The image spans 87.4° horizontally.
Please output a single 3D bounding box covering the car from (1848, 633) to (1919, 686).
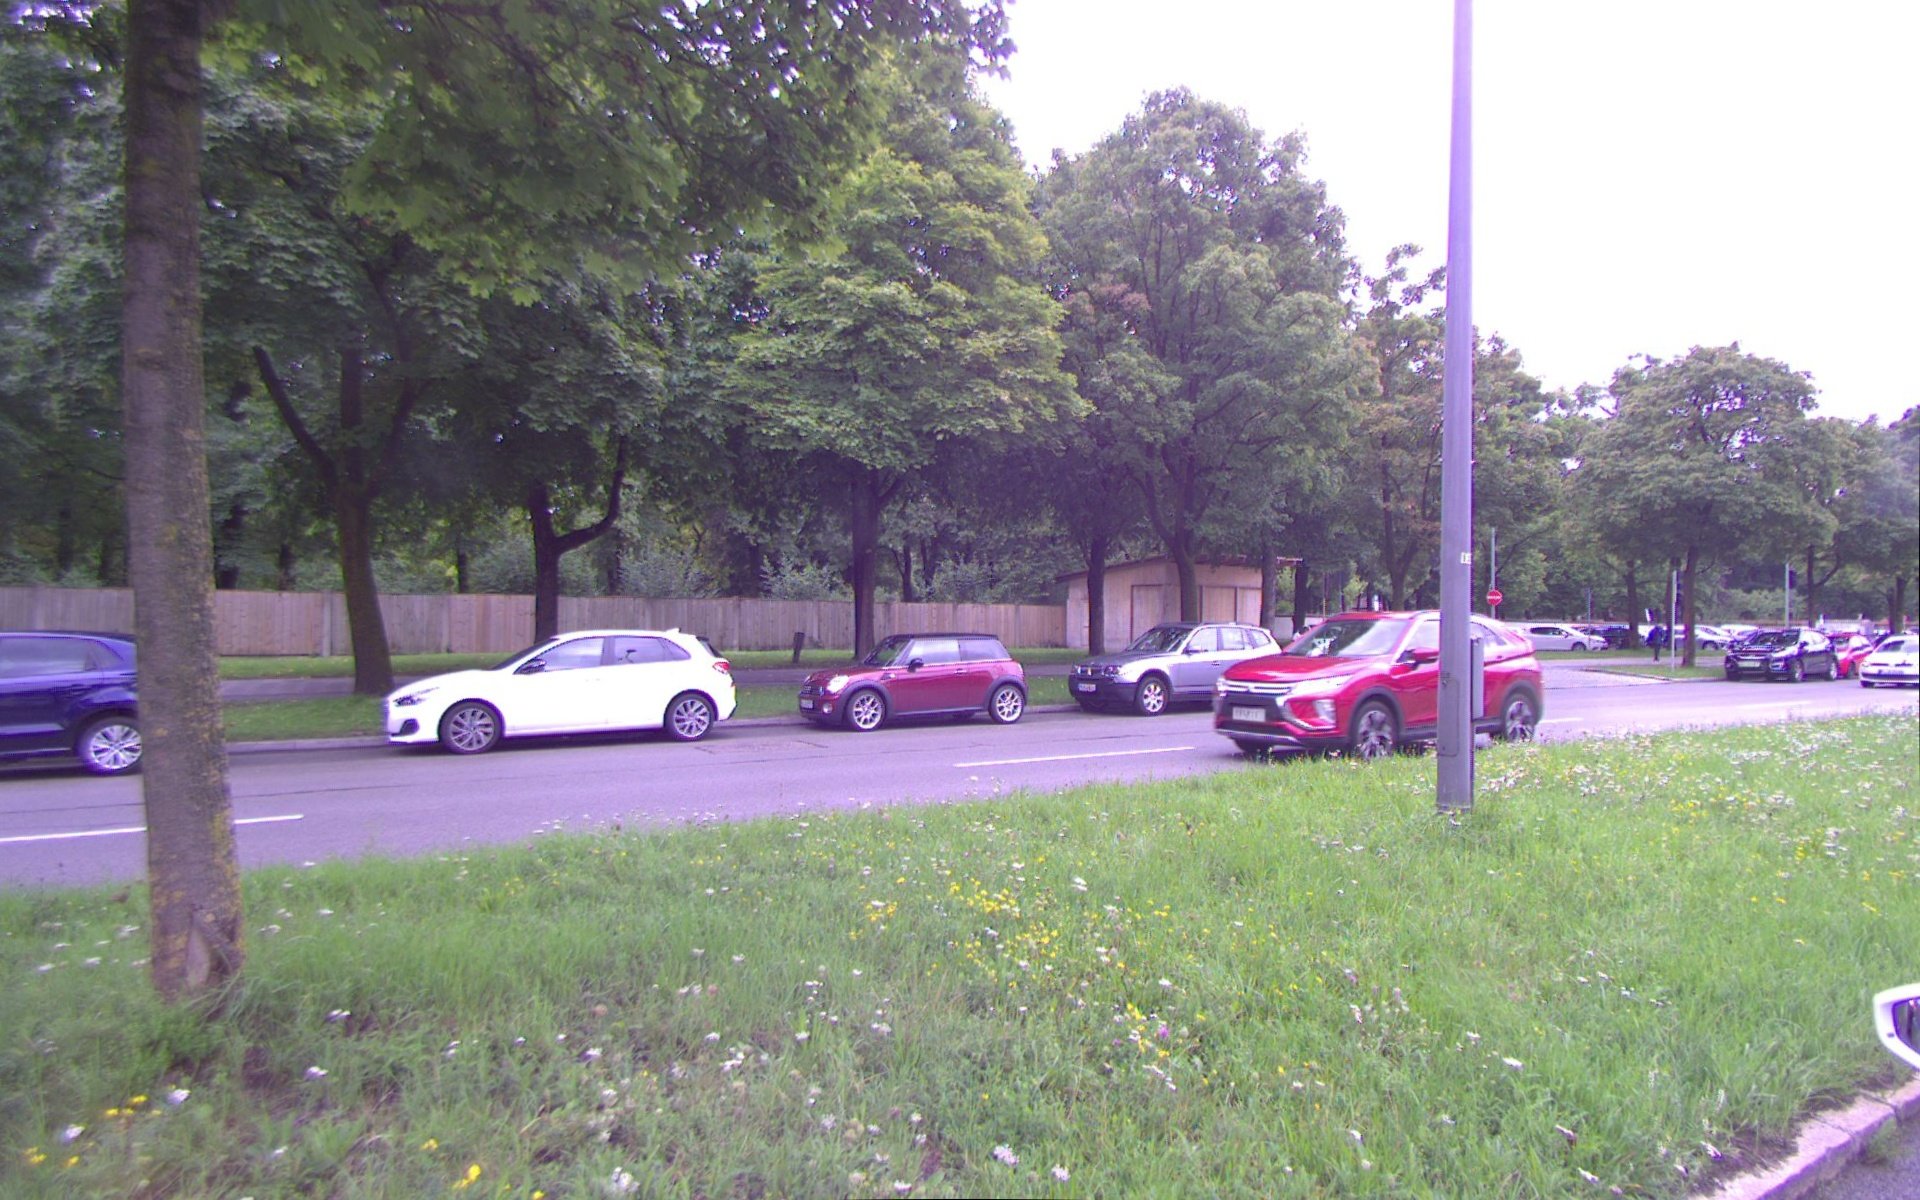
[{"bbox_3d":[26.338,1.616,27.767,3.794,1.393,1.610,1,-3,-31],"label":"car"}]

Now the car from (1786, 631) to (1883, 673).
[{"bbox_3d":[30.064,1.764,34.528,3.343,1.329,1.582,2,0,-32],"label":"car"}]

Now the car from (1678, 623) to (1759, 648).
[{"bbox_3d":[48.772,2.287,64.678,1.656,1.465,3.840,1,0,-35],"label":"car"}]

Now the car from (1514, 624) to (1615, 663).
[{"bbox_3d":[29.589,2.092,49.279,1.656,1.740,3.892,1,0,-35],"label":"car"}]

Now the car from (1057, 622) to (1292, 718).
[{"bbox_3d":[4.040,1.245,18.712,4.321,1.607,1.682,1,-2,-32],"label":"car"}]

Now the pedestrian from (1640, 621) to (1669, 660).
[{"bbox_3d":[28.293,1.644,40.933,0.712,1.554,0.724,1,0,-30],"label":"pedestrian"}]

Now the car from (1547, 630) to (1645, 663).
[{"bbox_3d":[31.976,2.296,50.572,1.656,1.465,3.840,1,0,-35],"label":"car"}]

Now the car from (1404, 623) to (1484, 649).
[{"bbox_3d":[30.877,2.274,64.186,1.653,1.496,4.486,2,0,-29],"label":"car"}]

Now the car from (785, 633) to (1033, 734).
[{"bbox_3d":[-0.783,1.236,15.764,3.586,1.415,1.584,1,-2,-29],"label":"car"}]

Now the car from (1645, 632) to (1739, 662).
[{"bbox_3d":[40.295,2.568,55.347,1.656,1.465,3.840,1,0,-35],"label":"car"}]

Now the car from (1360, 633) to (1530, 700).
[{"bbox_3d":[11.114,1.474,22.981,3.830,1.428,1.542,1,-2,-28],"label":"car"}]

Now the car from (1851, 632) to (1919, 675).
[{"bbox_3d":[34.528,1.946,36.884,3.835,1.465,1.658,2,0,-32],"label":"car"}]

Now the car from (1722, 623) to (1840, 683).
[{"bbox_3d":[25.964,1.650,31.751,3.835,1.764,1.707,2,0,-32],"label":"car"}]

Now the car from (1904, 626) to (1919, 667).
[{"bbox_3d":[39.032,1.859,39.660,3.835,1.579,1.582,2,0,-32],"label":"car"}]

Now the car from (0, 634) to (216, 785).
[{"bbox_3d":[-9.898,1.063,10.002,3.856,1.436,1.604,1,-2,-33],"label":"car"}]

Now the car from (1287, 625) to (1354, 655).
[{"bbox_3d":[16.767,1.852,46.888,1.639,1.217,4.421,2,0,2],"label":"car"}]

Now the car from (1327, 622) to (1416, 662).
[{"bbox_3d":[16.824,1.679,41.303,1.922,1.465,4.421,2,0,2],"label":"car"}]

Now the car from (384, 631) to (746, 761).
[{"bbox_3d":[-5.106,1.149,13.168,4.229,1.463,1.600,1,-2,-31],"label":"car"}]

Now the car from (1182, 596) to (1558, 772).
[{"bbox_3d":[4.818,0.904,11.711,4.195,1.718,1.895,1,-3,-30],"label":"car"}]
